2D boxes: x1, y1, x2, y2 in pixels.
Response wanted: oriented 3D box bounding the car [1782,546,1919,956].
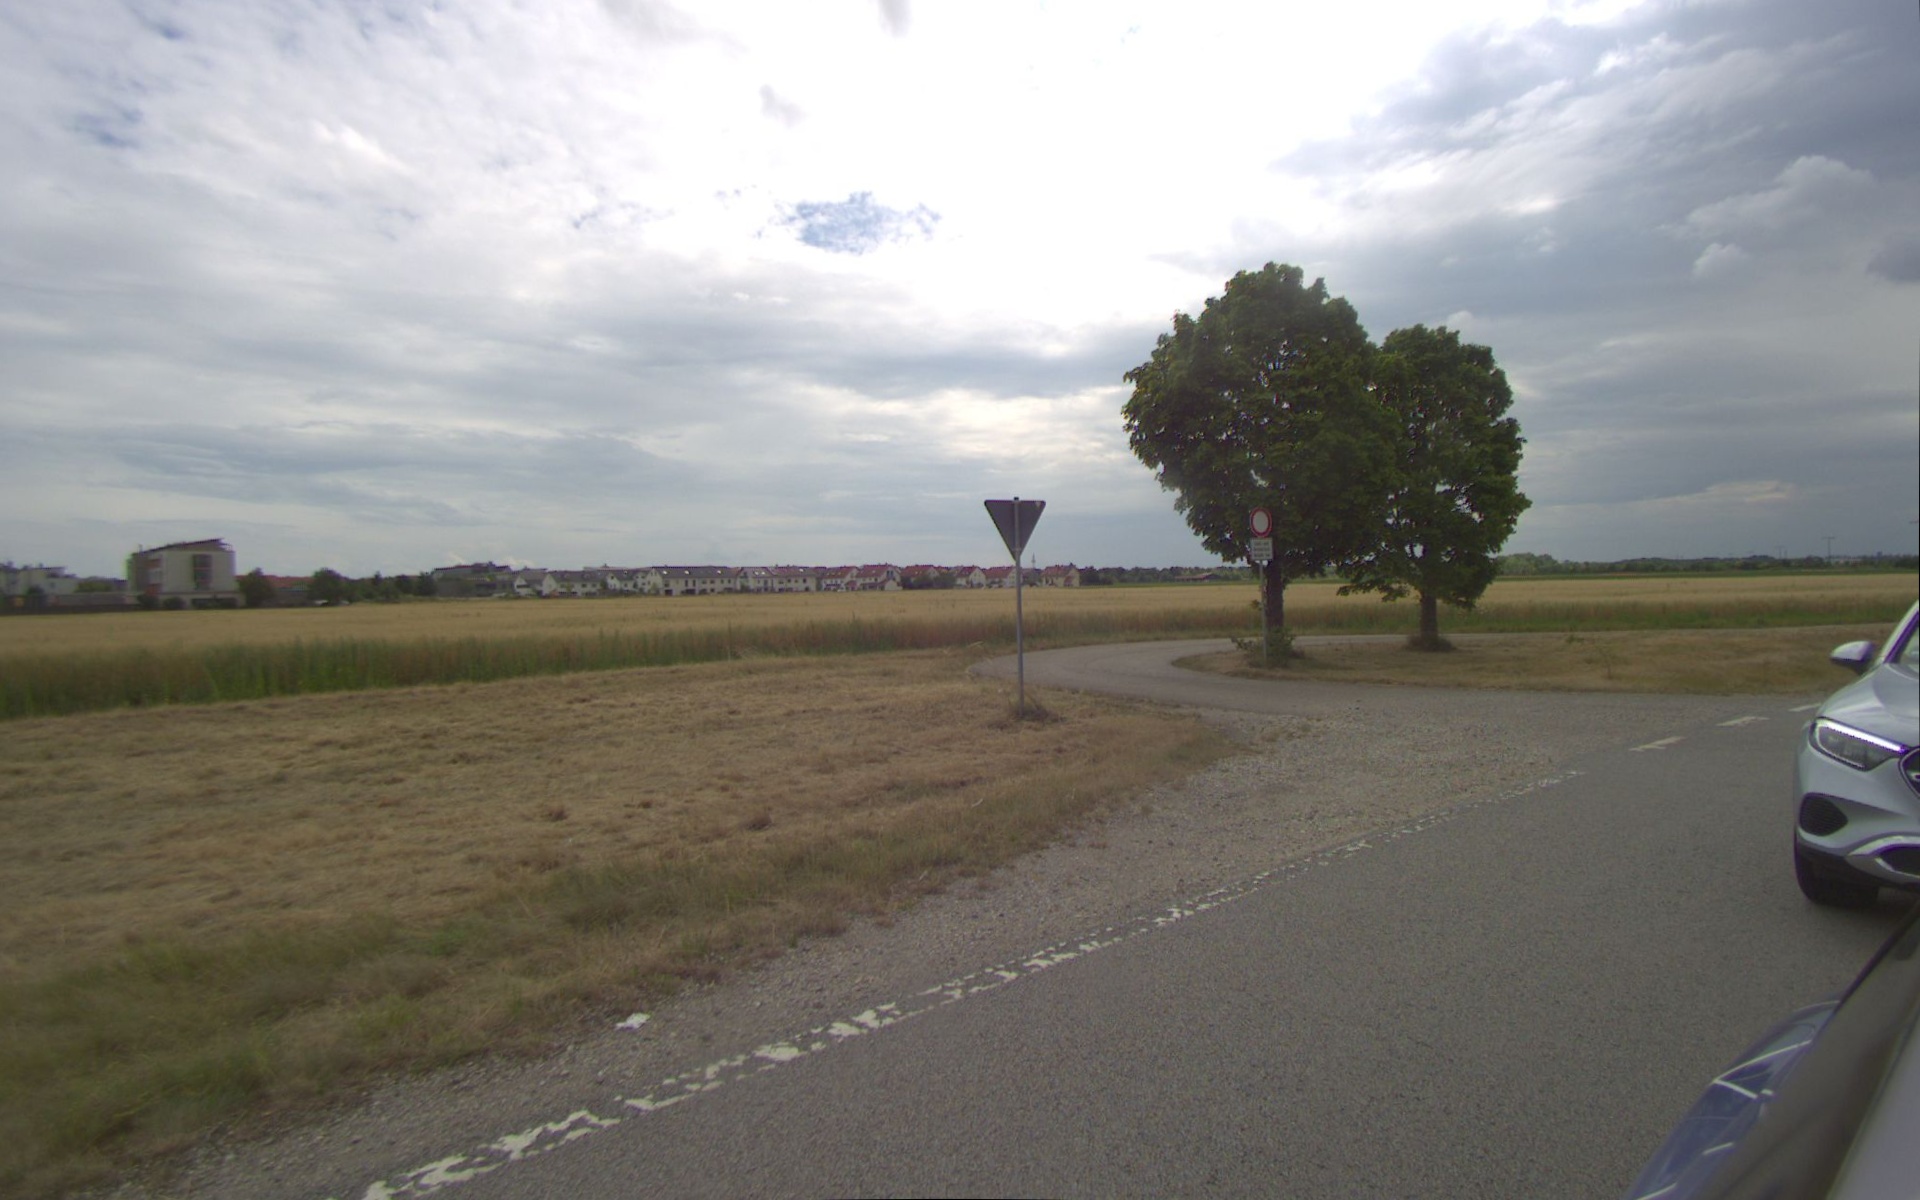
[{"bbox_3d":[5.725,0.568,5.017,4.372,1.606,1.835,-1,1,-41],"label":"car"}]
